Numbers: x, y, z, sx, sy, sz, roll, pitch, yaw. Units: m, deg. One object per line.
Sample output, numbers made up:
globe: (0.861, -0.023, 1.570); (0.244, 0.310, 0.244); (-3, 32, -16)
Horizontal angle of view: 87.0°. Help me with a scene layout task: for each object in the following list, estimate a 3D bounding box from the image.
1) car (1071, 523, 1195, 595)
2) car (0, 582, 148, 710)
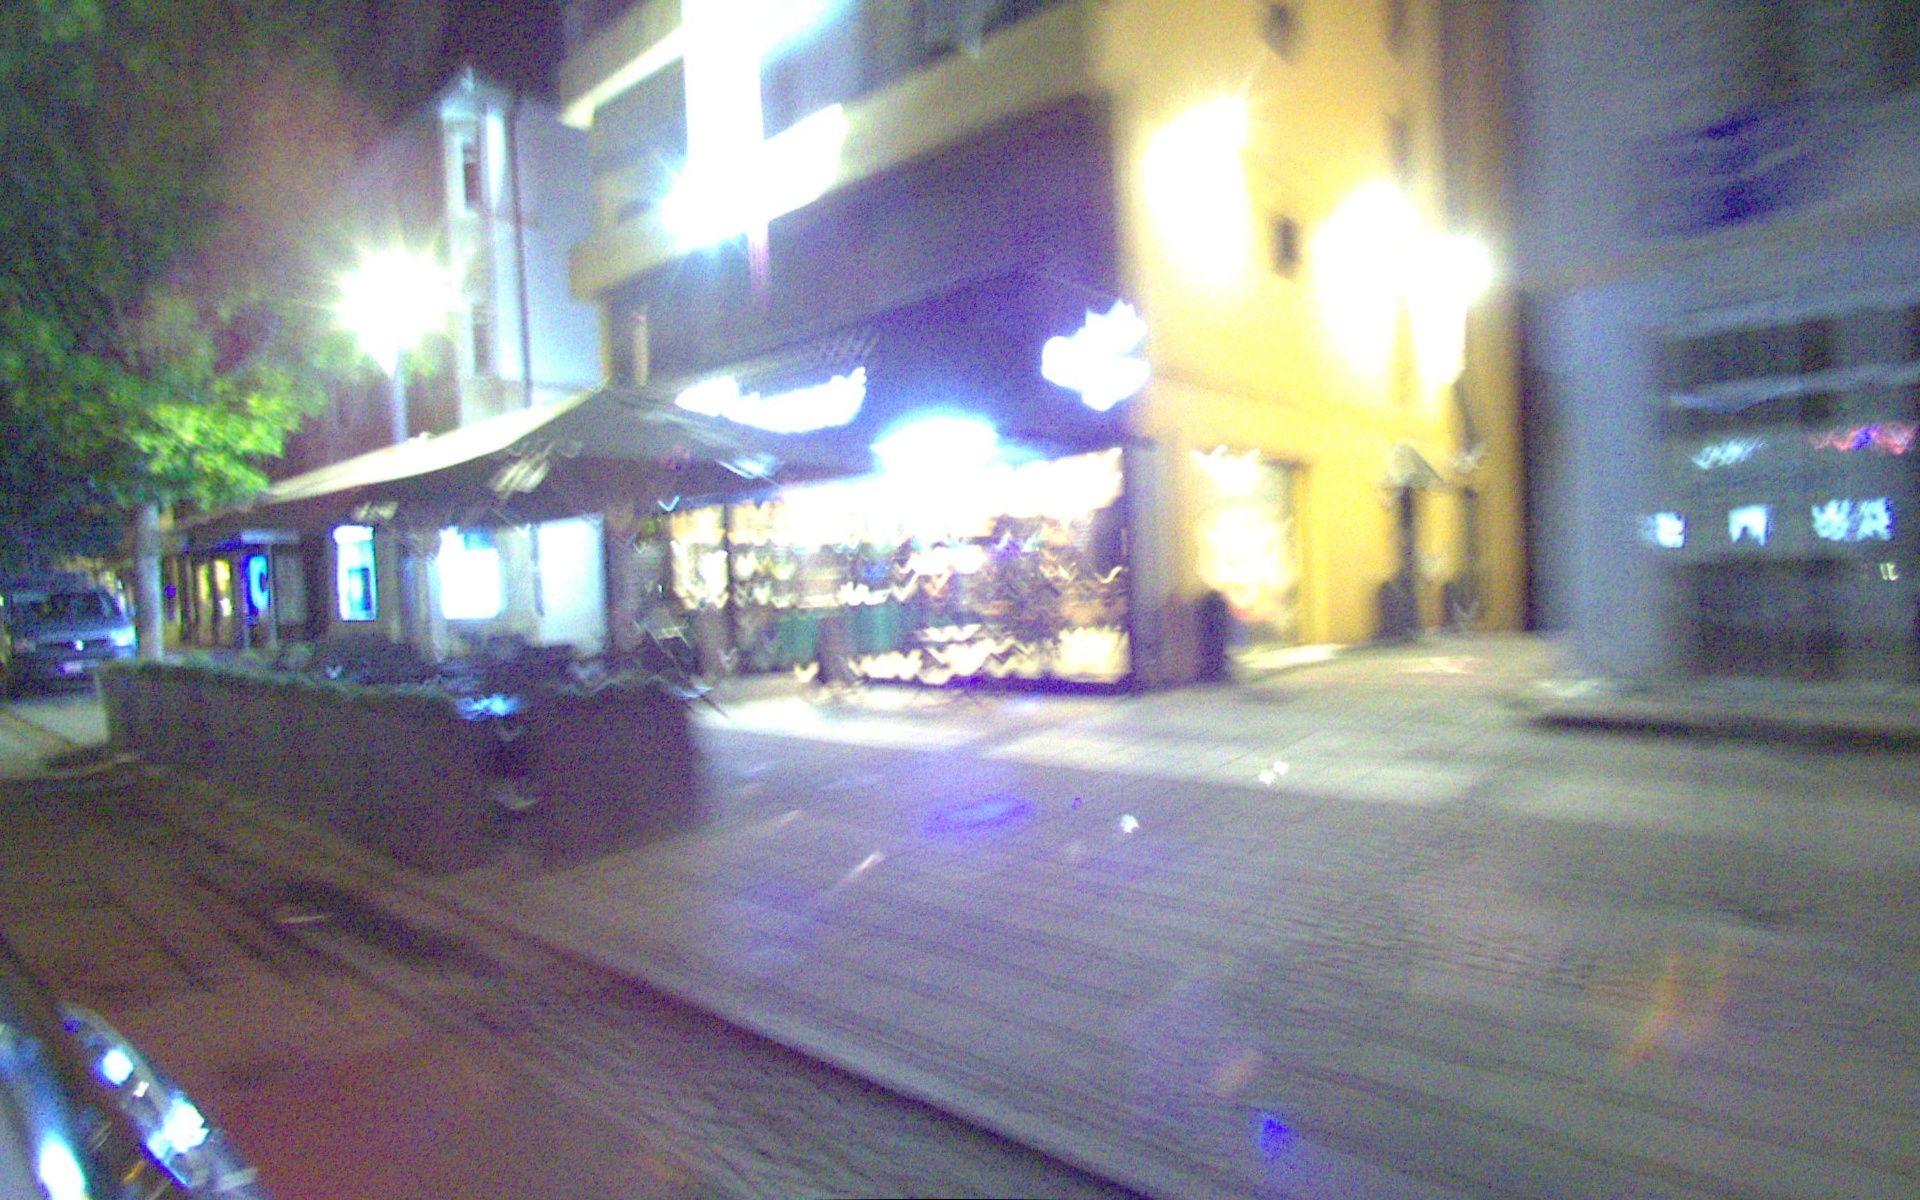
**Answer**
car: (5.432, -1.259, 31.457); (1.999, 2.029, 3.945); (-1, 1, 42)
car: (-17.005, 0.792, 18.866); (5.073, 1.979, 1.905); (-2, 3, 41)
